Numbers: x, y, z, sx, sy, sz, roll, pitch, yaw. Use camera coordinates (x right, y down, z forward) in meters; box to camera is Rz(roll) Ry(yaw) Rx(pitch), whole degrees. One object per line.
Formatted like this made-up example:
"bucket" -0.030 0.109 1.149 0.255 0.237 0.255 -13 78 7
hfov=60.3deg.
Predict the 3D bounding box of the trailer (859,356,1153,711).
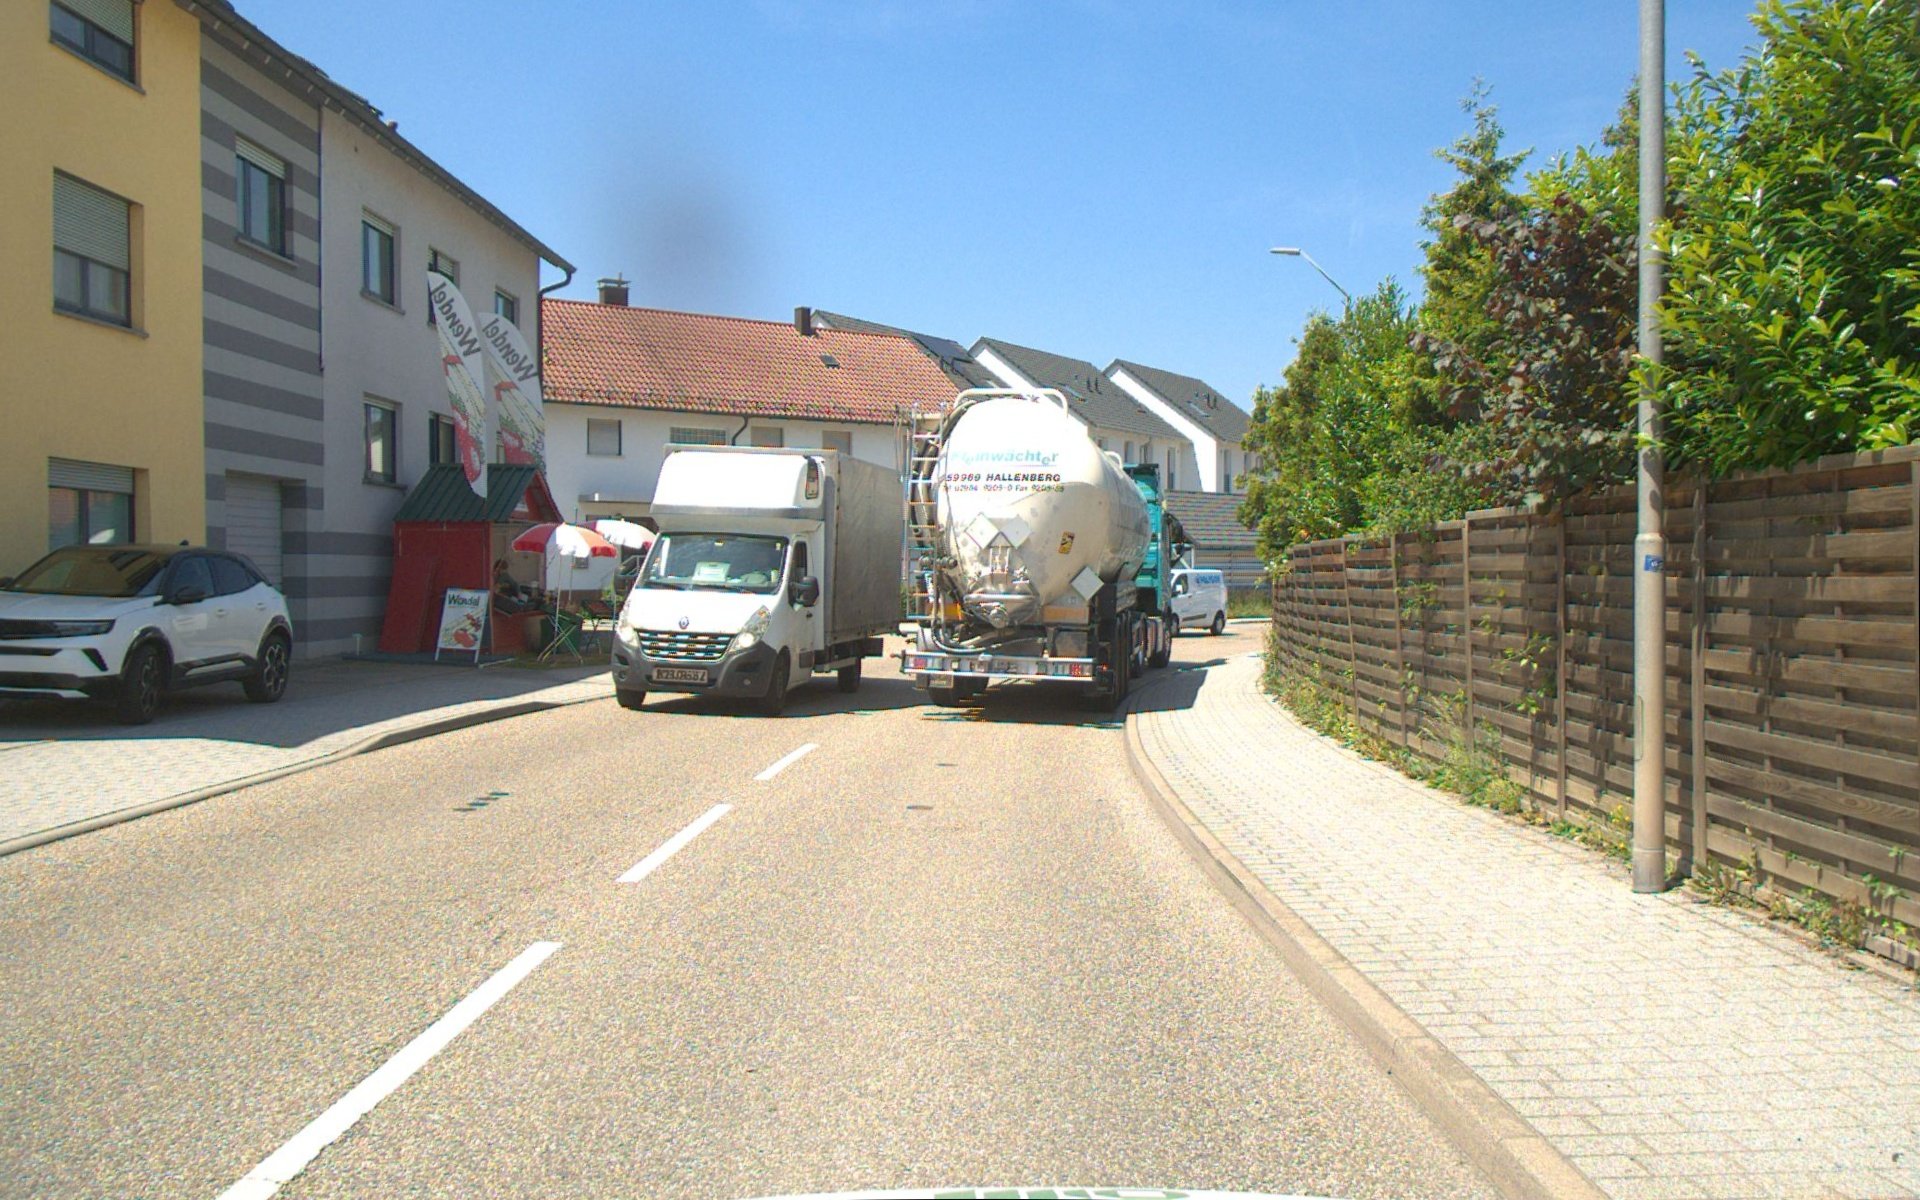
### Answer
"trailer" 1.176 -0.851 24.711 2.889 4.016 11.630 0 1 9

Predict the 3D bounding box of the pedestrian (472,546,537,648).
"pedestrian" -7.344 -0.055 26.673 0.600 1.615 0.806 0 0 33

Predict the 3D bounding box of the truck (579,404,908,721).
"truck" -2.555 -0.490 22.254 2.414 3.425 7.623 3 1 7

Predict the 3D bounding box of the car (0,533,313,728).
"car" -7.802 0.220 15.573 1.694 1.579 4.189 1 1 1

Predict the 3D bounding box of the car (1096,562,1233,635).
"car" 6.244 -0.100 49.949 1.959 2.034 5.198 3 2 34

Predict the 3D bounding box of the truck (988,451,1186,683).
"truck" 2.668 -0.639 32.792 2.924 4.033 5.584 -3 0 13
